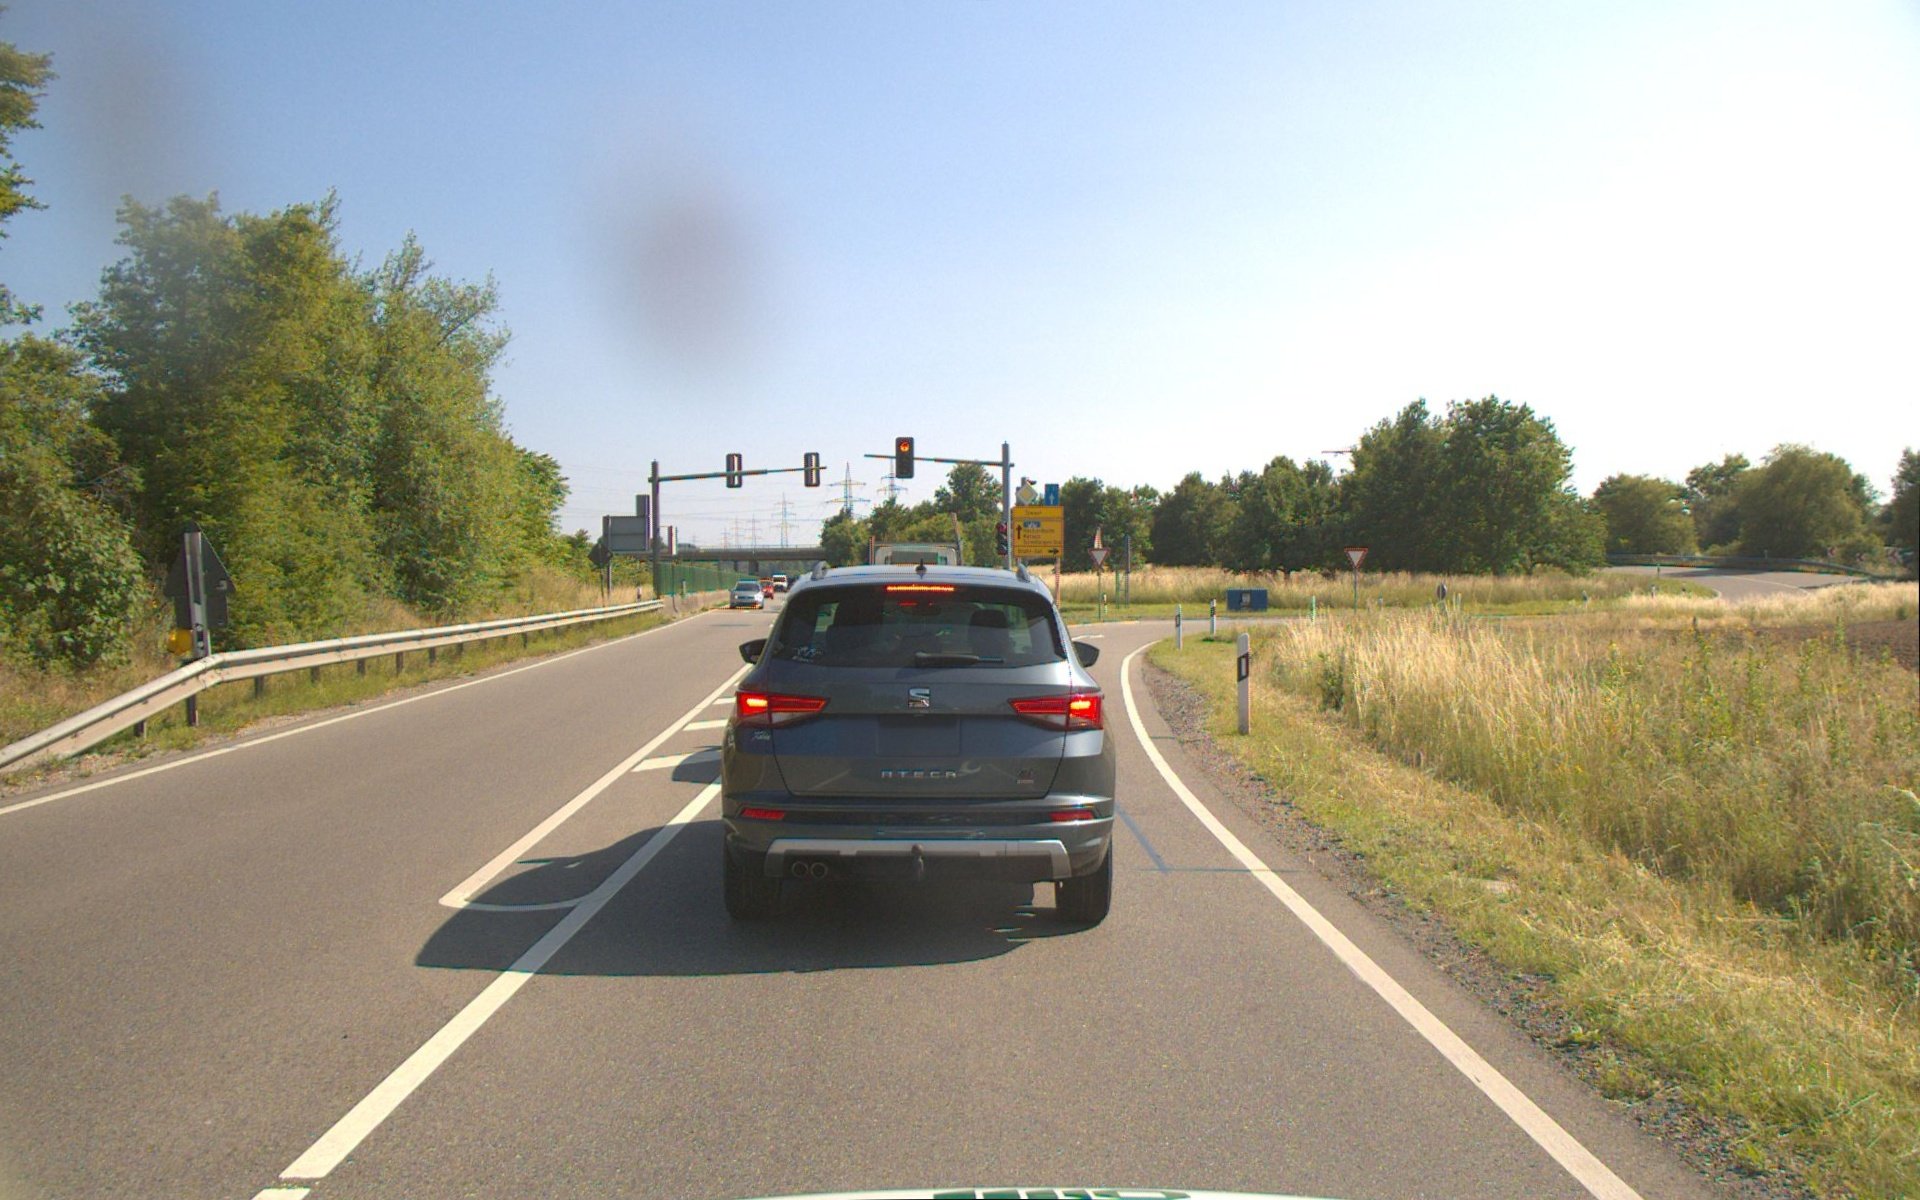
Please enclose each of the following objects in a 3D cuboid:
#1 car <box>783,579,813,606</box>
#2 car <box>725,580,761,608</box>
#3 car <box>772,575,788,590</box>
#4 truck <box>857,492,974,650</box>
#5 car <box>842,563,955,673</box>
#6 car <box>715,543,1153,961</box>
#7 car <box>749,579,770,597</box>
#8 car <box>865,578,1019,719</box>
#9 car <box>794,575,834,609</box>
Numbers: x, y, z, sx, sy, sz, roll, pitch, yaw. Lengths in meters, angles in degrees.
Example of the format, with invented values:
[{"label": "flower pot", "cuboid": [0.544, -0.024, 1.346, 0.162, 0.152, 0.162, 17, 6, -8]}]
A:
[{"label": "car", "cuboid": [-9.037, -0.433, 92.219, 1.652, 1.404, 3.529, 0, 1, -6]}, {"label": "car", "cuboid": [-11.539, -0.343, 88.106, 1.789, 1.456, 3.994, -1, 1, -7]}, {"label": "car", "cuboid": [-24.296, -2.315, 223.401, 1.927, 1.986, 4.987, -1, 1, -9]}, {"label": "truck", "cuboid": [-0.981, -0.575, 35.444, 2.290, 3.119, 5.807, 0, 0, -2]}, {"label": "car", "cuboid": [-1.074, 0.238, 27.855, 1.750, 1.705, 3.998, -1, 1, -3]}, {"label": "car", "cuboid": [-0.208, 0.570, 8.648, 1.750, 1.657, 3.998, -1, 1, -3]}, {"label": "car", "cuboid": [-16.827, -1.037, 138.798, 1.728, 1.456, 3.994, -1, 1, -7]}, {"label": "car", "cuboid": [-0.315, 0.523, 20.866, 1.750, 1.570, 3.998, -1, 1, -3]}, {"label": "car", "cuboid": [-7.033, -0.392, 79.203, 1.781, 1.567, 3.994, -1, 1, -7]}]
